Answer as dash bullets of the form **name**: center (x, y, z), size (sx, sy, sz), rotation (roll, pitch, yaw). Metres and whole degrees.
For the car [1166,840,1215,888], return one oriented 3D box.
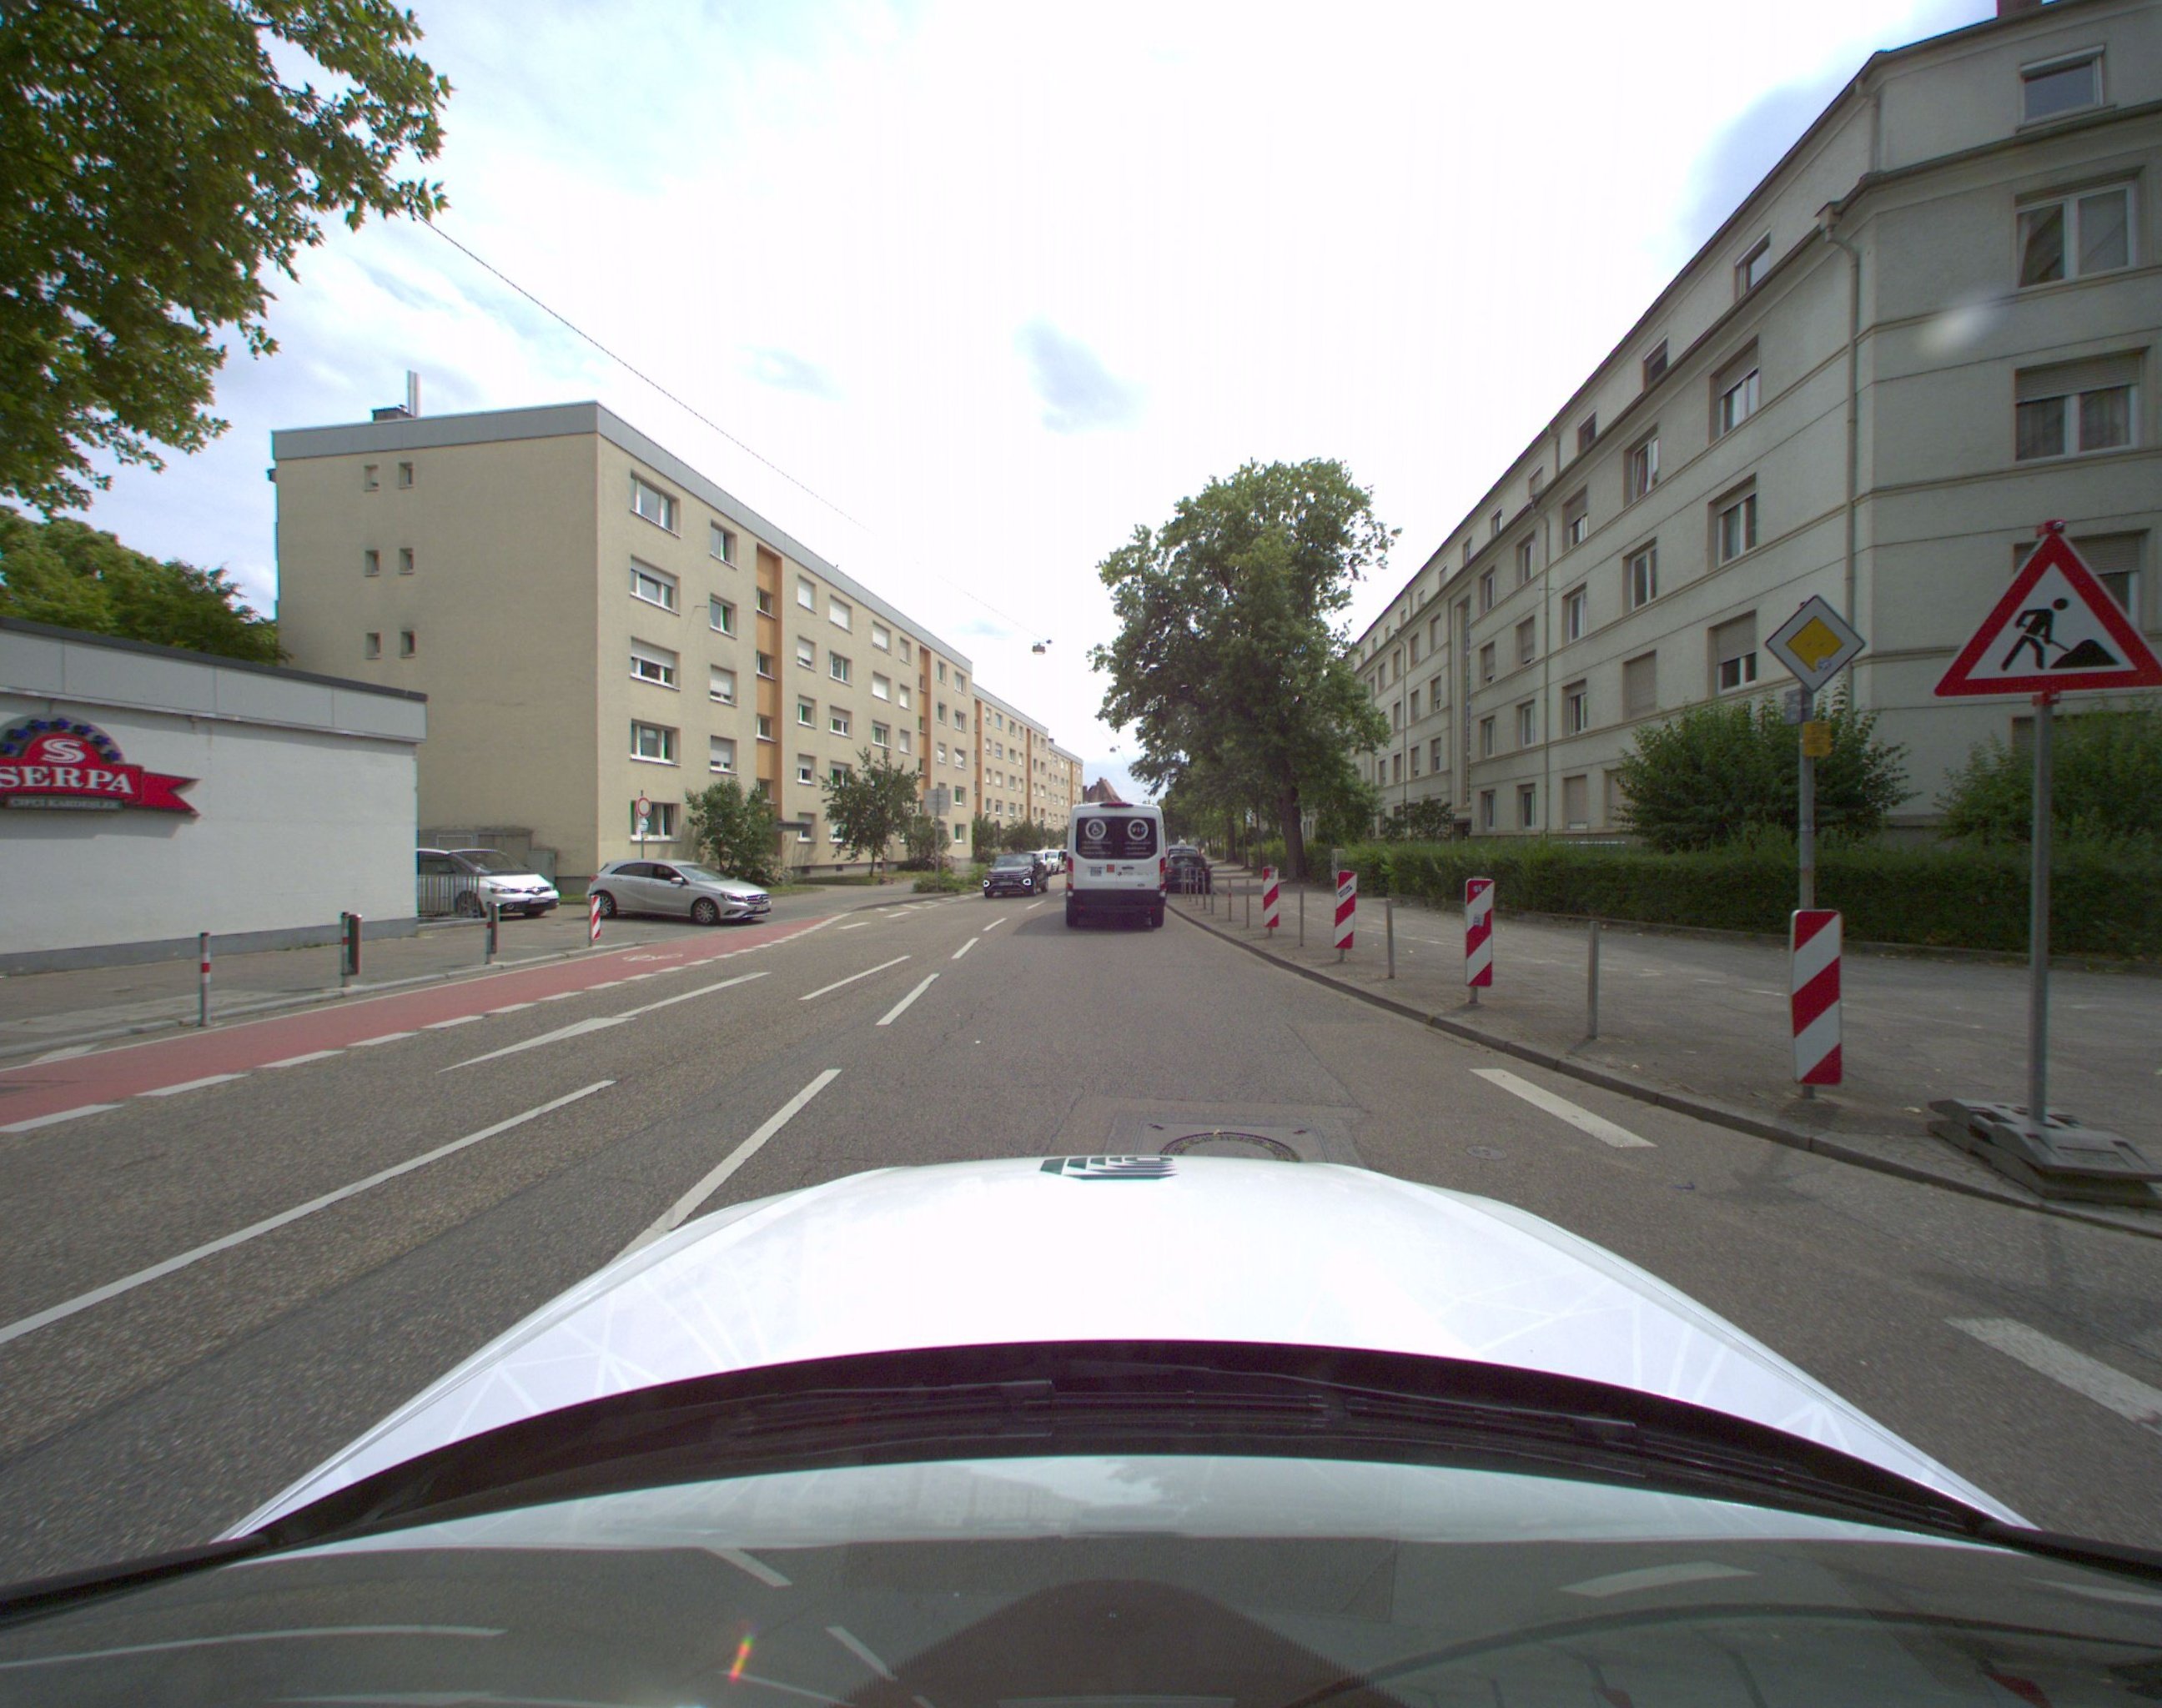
- **car**: center (4.748, 0.383, 35.190), size (1.907, 1.865, 4.857), rotation (1, 0, 8)

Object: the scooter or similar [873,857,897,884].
- **scooter or similar**: center (-8.897, 0.750, 37.062), size (0.398, 1.193, 1.296), rotation (1, 0, 18)

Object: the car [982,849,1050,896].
- **car**: center (-2.268, 0.616, 29.232), size (1.689, 1.518, 4.007), rotation (-1, 0, 6)

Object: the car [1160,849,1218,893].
- **car**: center (3.922, 0.558, 29.481), size (1.907, 1.444, 4.248), rotation (1, 0, 8)

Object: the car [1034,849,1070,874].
- **car**: center (-1.898, 0.475, 54.826), size (1.688, 1.612, 4.486), rotation (1, 0, 7)

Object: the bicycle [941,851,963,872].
- **bicycle**: center (-8.047, 0.449, 50.814), size (0.574, 1.251, 1.942), rotation (0, 1, 17)

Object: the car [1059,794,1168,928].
- **car**: center (0.824, 0.140, 17.929), size (2.060, 2.540, 4.641), rotation (-1, 0, 5)

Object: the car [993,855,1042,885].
- **car**: center (-3.379, 0.815, 44.091), size (1.699, 1.473, 3.999), rotation (1, 0, 8)

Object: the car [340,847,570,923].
- **car**: center (-15.093, 0.733, 19.714), size (4.599, 1.686, 1.856), rotation (-1, 0, 13)

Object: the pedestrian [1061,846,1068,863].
- **pedestrian**: center (-1.715, 0.031, 85.856), size (0.616, 1.813, 0.900), rotation (1, 0, 4)

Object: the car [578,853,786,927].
- **car**: center (-9.571, 0.811, 19.671), size (4.145, 1.450, 1.855), rotation (3, 1, 10)

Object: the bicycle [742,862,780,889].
- **bicycle**: center (-12.896, 0.840, 32.884), size (0.408, 1.038, 1.812), rotation (0, 0, 16)

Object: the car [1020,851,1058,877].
- **car**: center (-2.511, 0.605, 49.720), size (1.700, 1.473, 3.995), rotation (1, 0, 5)
